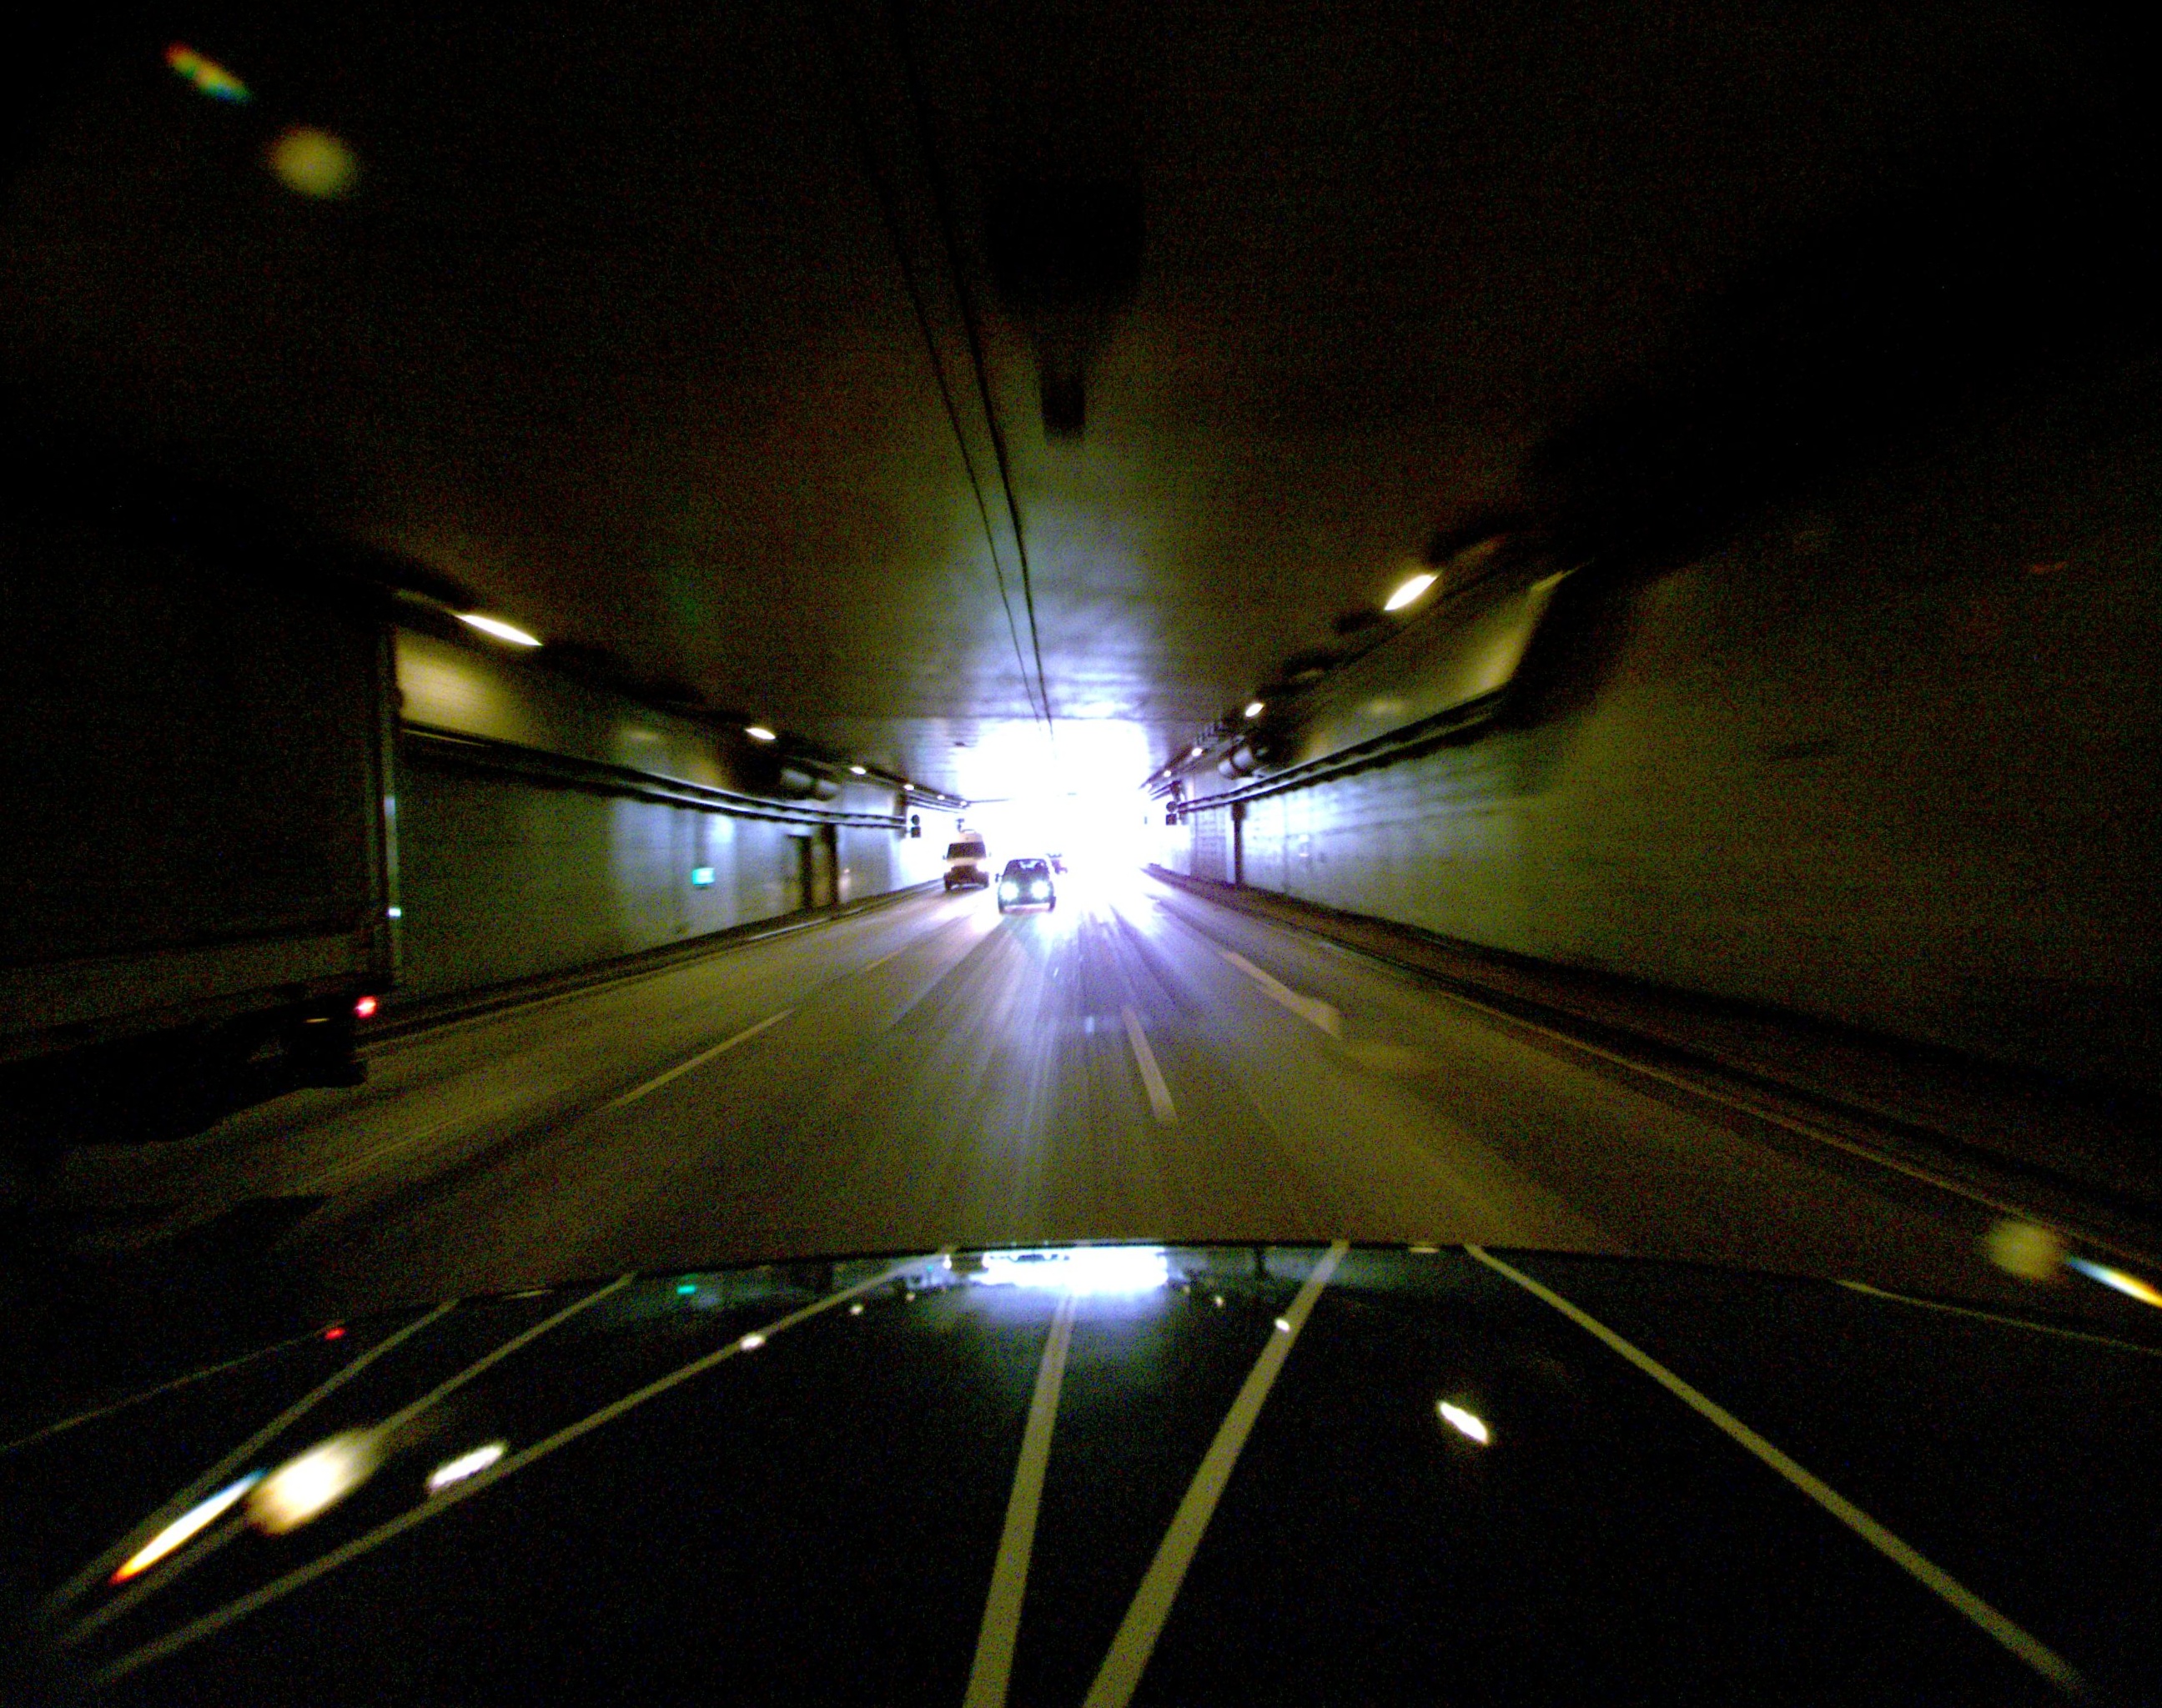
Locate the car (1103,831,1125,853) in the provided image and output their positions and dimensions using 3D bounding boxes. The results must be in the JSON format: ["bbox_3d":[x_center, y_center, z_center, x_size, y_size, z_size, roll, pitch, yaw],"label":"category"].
[{"bbox_3d":[3.089,-1.130,72.313,1.935,1.919,4.195,-3,2,2],"label":"car"}]

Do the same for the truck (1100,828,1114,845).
[{"bbox_3d":[5.037,-3.380,145.387,2.493,3.122,6.374,-3,3,2],"label":"truck"}]

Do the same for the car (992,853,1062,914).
[{"bbox_3d":[-1.542,0.826,22.893,1.639,1.552,3.716,-3,1,2],"label":"car"}]

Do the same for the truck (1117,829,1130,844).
[{"bbox_3d":[7.846,-3.292,141.911,2.138,2.713,5.669,-3,3,2],"label":"truck"}]

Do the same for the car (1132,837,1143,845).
[{"bbox_3d":[11.445,-2.618,154.035,1.950,1.525,4.000,-6,0,1],"label":"car"}]

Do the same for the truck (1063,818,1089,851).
[{"bbox_3d":[-0.630,-2.901,109.262,2.886,4.448,10.451,-3,3,3],"label":"truck"}]

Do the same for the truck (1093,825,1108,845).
[{"bbox_3d":[3.491,-3.379,135.760,2.494,3.370,6.374,-3,3,2],"label":"truck"}]

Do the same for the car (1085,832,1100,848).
[{"bbox_3d":[1.357,-1.642,87.742,1.639,1.662,3.715,-3,3,2],"label":"car"}]

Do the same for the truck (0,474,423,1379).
[{"bbox_3d":[-5.004,0.262,0.699,2.560,3.162,7.244,-2,0,-2],"label":"truck"}]

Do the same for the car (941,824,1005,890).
[{"bbox_3d":[-5.045,0.056,36.411,2.107,2.831,6.858,-2,1,-1],"label":"car"}]

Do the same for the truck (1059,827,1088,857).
[{"bbox_3d":[-0.625,-1.194,71.827,2.073,2.526,6.023,-3,3,5],"label":"truck"}]

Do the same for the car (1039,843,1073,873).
[{"bbox_3d":[-1.447,0.228,45.723,1.764,1.552,3.818,-6,0,0],"label":"car"}]
